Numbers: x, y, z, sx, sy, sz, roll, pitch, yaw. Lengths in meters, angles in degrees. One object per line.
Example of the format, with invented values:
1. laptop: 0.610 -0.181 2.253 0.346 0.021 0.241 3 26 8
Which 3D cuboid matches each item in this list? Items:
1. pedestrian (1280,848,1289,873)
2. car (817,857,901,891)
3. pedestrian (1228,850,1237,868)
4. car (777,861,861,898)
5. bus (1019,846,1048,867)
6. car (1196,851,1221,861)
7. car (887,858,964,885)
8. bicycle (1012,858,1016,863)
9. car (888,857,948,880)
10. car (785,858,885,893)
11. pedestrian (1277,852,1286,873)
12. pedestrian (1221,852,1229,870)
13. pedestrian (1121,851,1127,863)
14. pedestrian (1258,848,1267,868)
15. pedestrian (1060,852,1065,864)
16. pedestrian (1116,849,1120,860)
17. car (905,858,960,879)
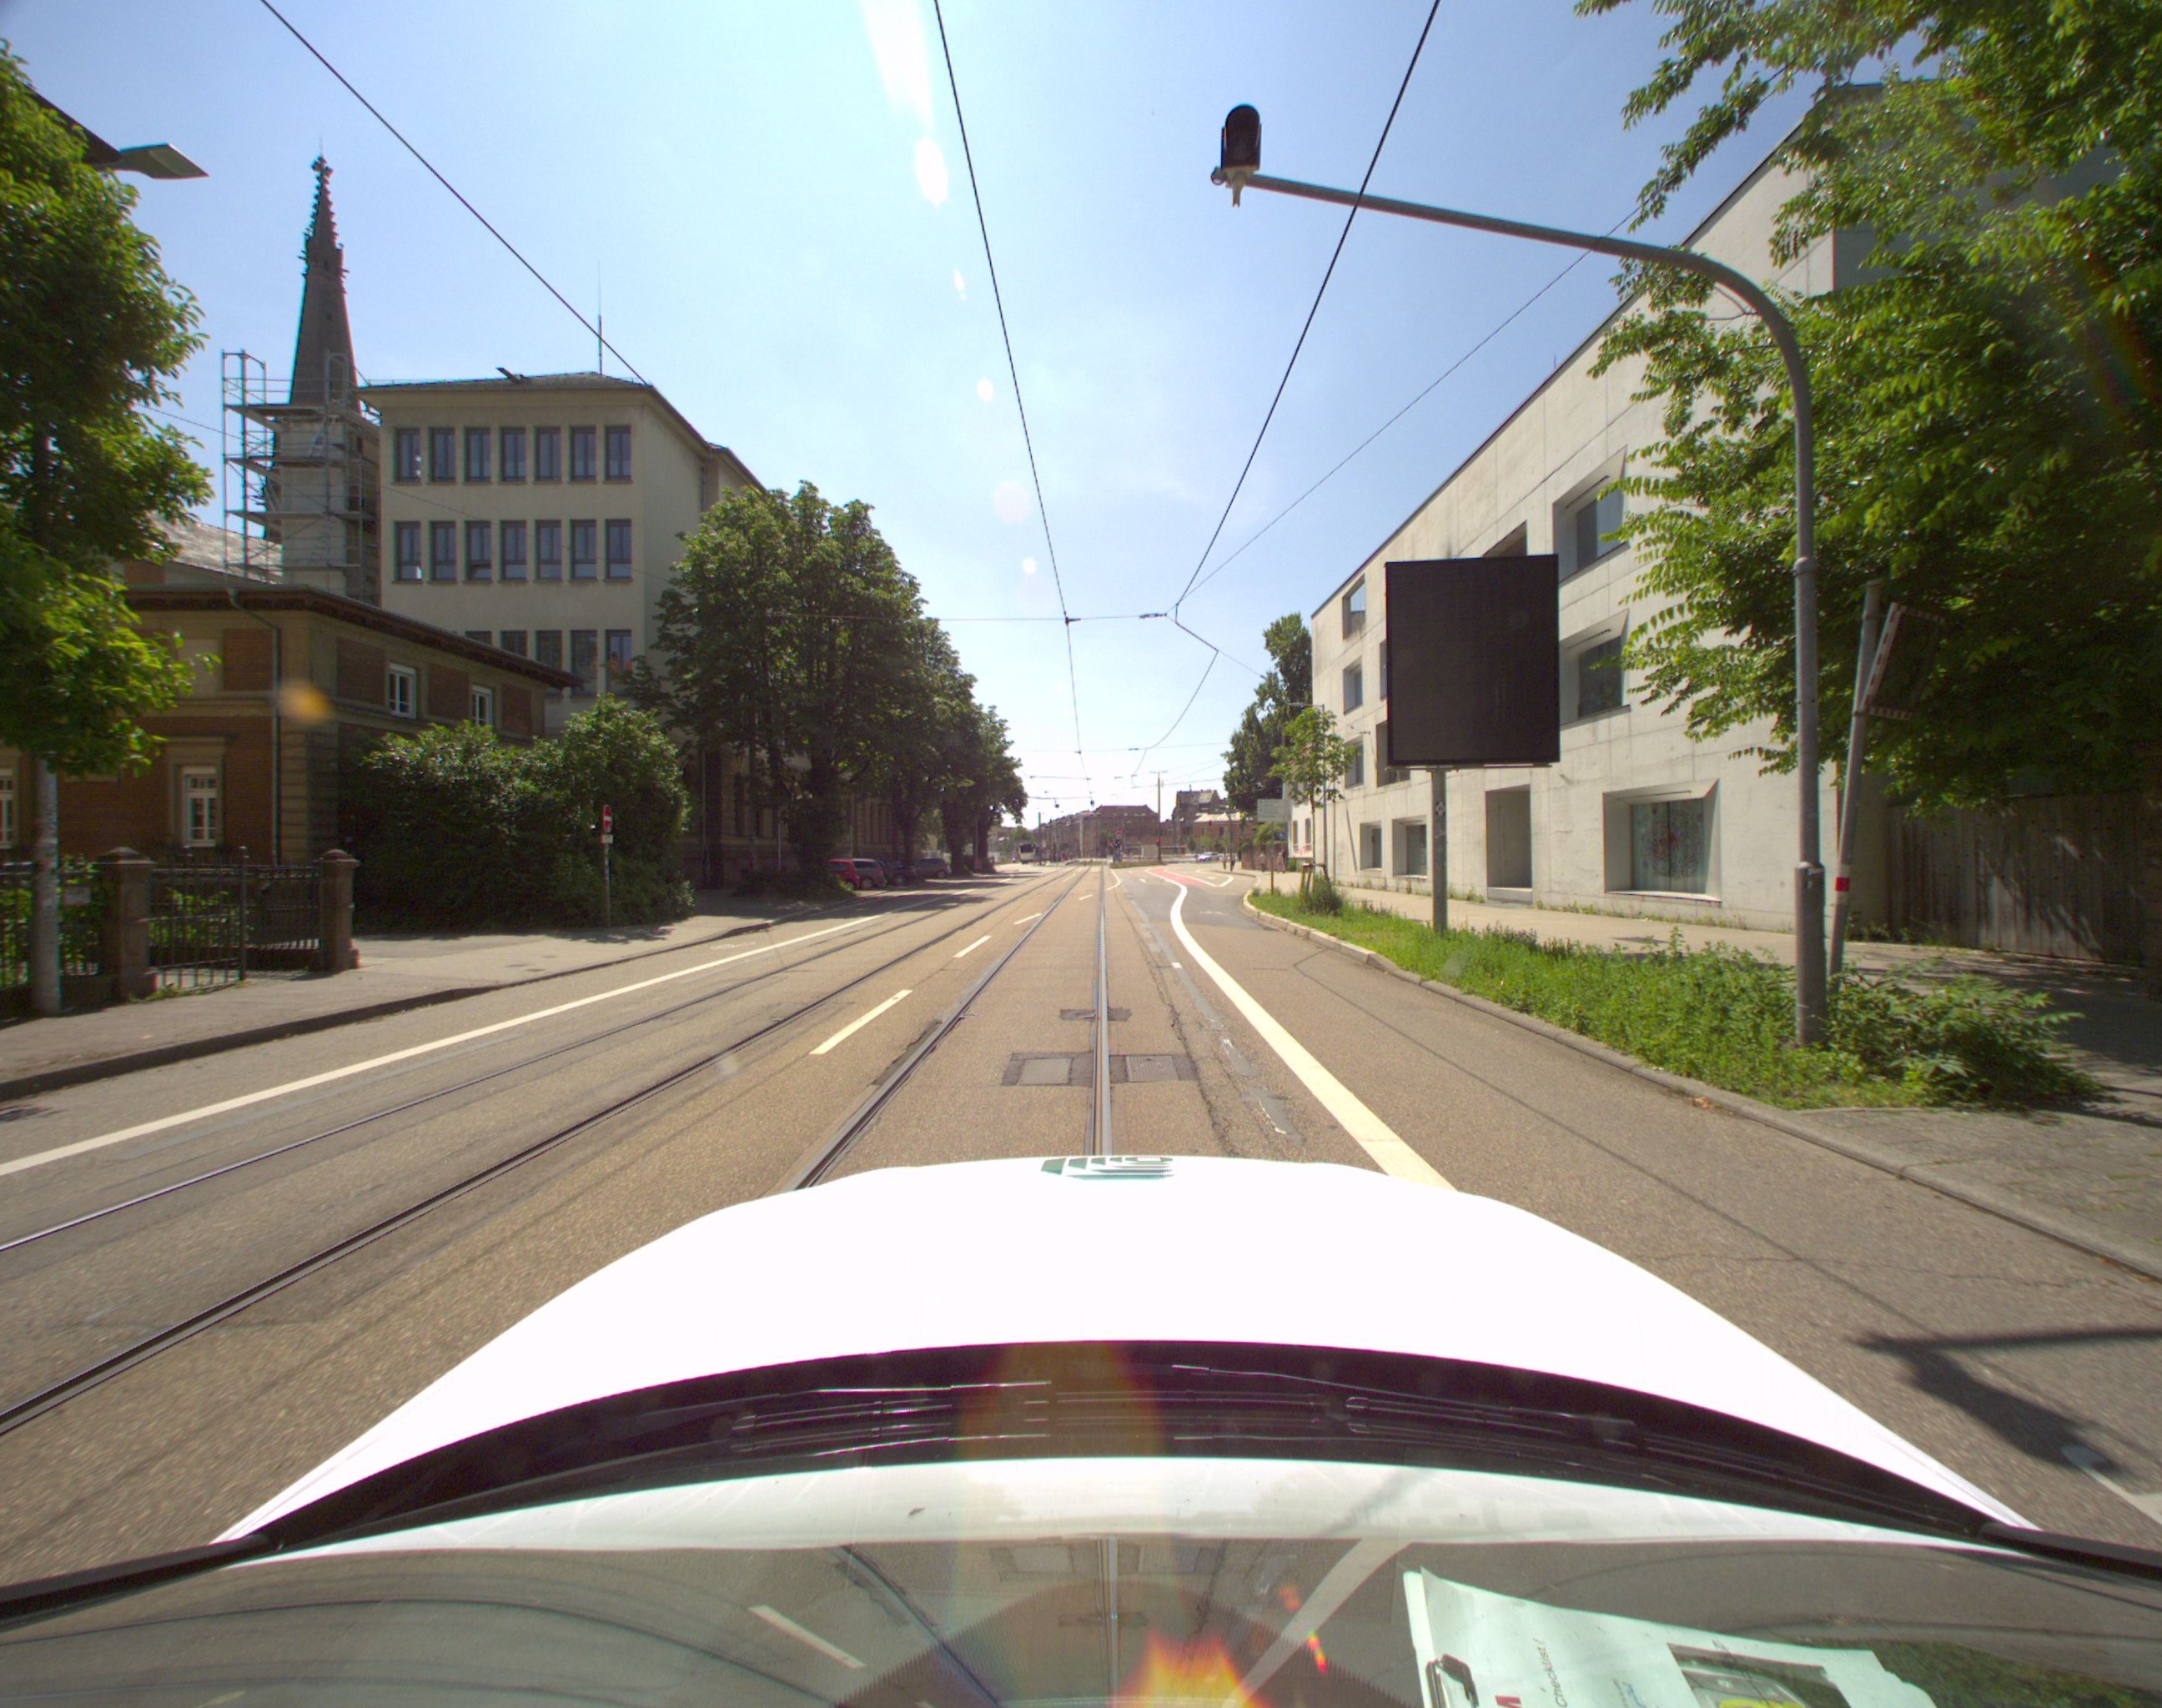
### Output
1. pedestrian: 14.977 0.477 59.846 0.622 1.773 0.721 -1 -1 14
2. car: -11.254 0.987 41.286 3.828 1.577 1.777 -1 0 -28
3. pedestrian: 15.441 0.532 82.944 0.810 1.808 0.701 -1 0 5
4. car: -11.428 1.081 35.516 3.357 1.516 1.656 0 0 -25
5. bus: -7.722 0.376 134.929 2.998 3.158 17.507 -1 0 2
6. car: 19.438 0.233 124.077 1.974 1.438 4.735 -1 0 35
7. car: -8.712 0.950 45.521 3.940 1.374 1.656 -2 0 -25
8. bicycle: -12.011 1.213 146.070 0.501 0.914 2.370 -1 0 0
9. car: -11.057 0.973 55.103 3.685 1.520 1.655 0 0 -27
10. car: -11.669 0.997 38.635 4.333 1.584 1.654 0 0 -28
11. pedestrian: 14.511 0.618 58.951 0.513 1.532 0.599 -1 0 7
12. pedestrian: 14.676 0.714 83.146 0.674 1.808 0.749 -1 0 6
13. pedestrian: 6.956 0.508 132.325 0.771 1.864 0.722 0 -1 -39
14. pedestrian: 14.628 0.309 65.633 0.657 1.647 0.625 -1 0 6
15. pedestrian: -2.743 0.597 123.075 0.672 1.909 0.639 -1 0 -8
16. pedestrian: 5.647 0.046 124.614 0.526 1.675 0.750 -1 -1 -6
17. car: -10.606 1.004 58.254 3.557 1.406 1.687 -1 0 -27
